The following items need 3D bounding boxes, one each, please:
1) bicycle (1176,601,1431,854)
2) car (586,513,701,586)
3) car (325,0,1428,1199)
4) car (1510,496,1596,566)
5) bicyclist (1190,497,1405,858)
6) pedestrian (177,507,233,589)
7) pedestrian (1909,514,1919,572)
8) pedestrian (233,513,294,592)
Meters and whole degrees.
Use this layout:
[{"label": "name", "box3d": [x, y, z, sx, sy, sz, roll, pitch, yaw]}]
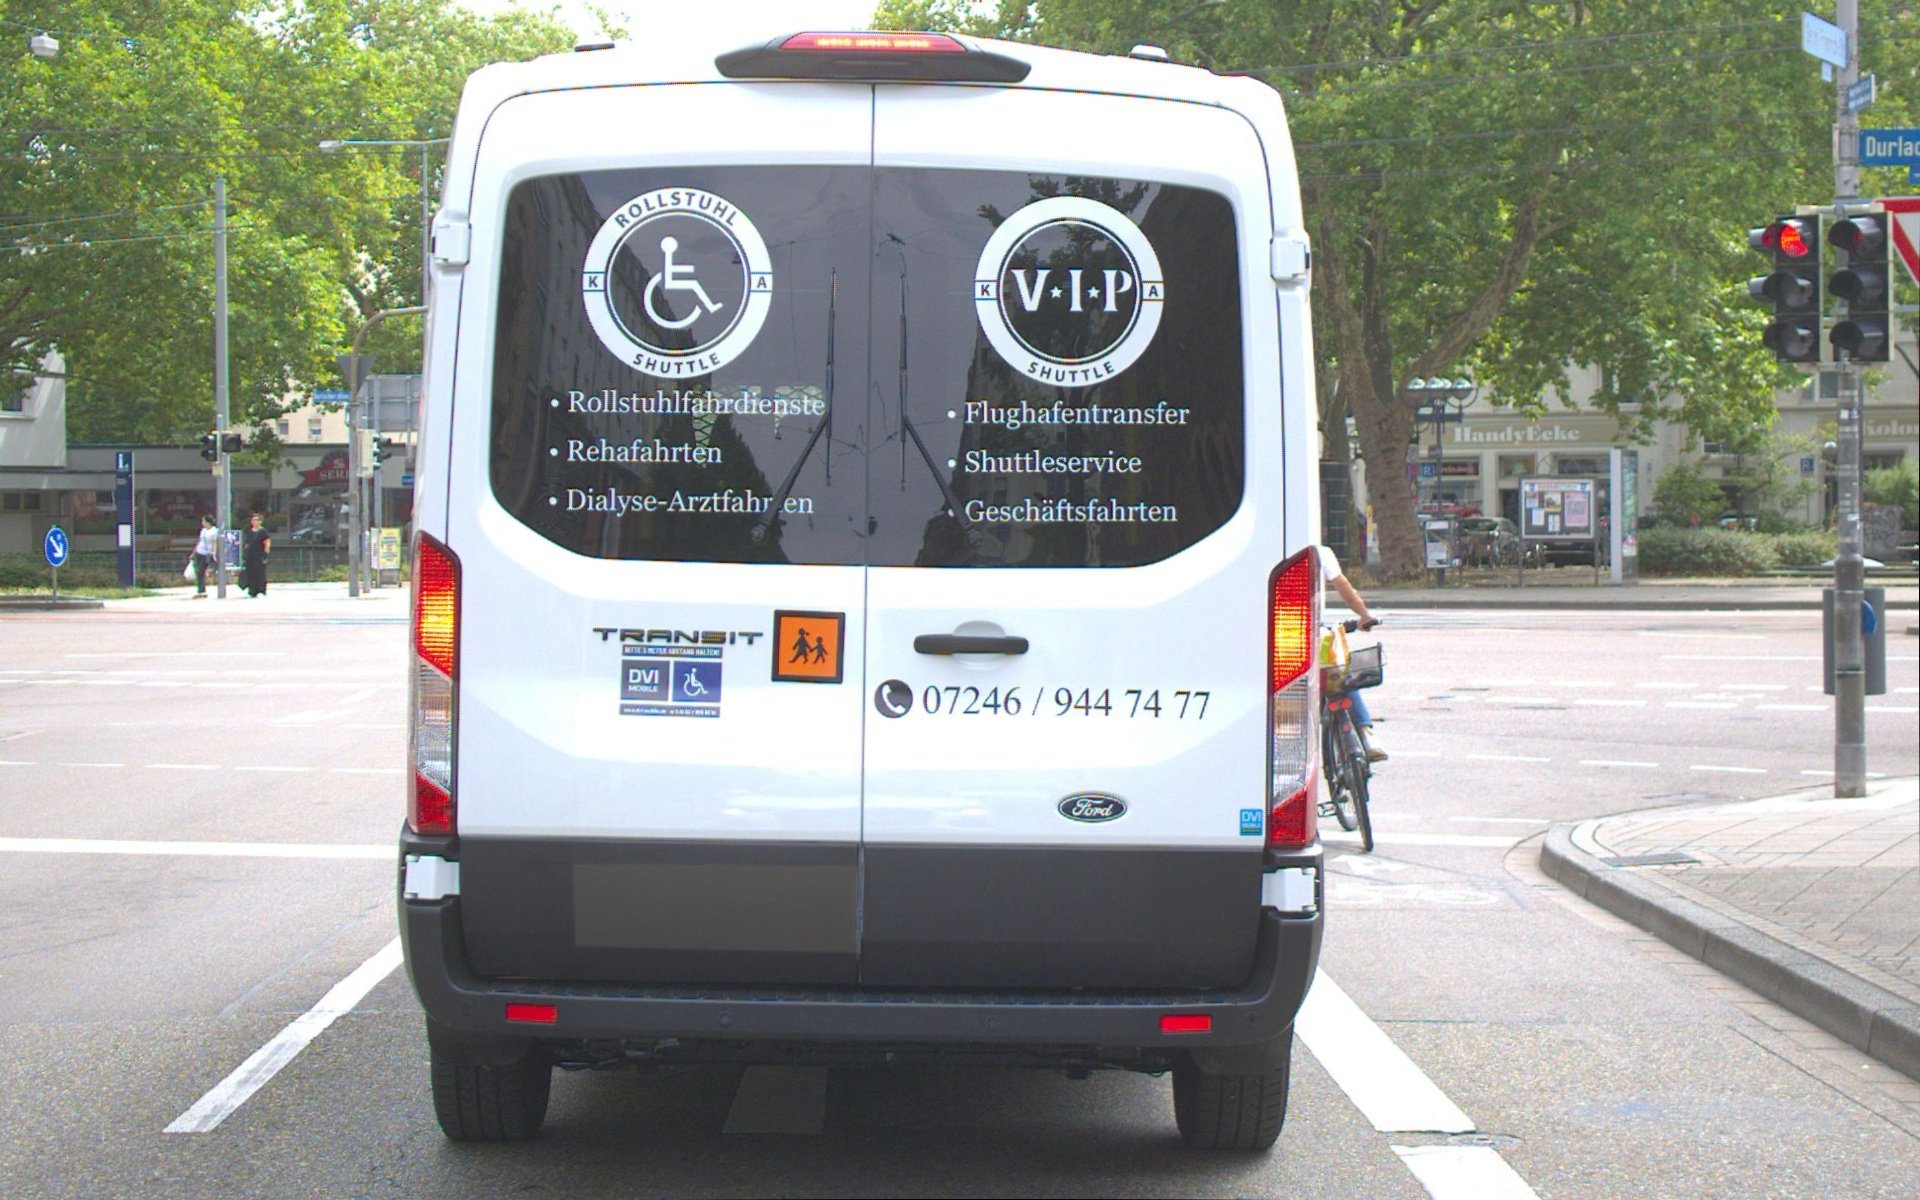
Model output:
[{"label": "bicycle", "box3d": [1.602, 0.571, 16.373, 0.902, 1.071, 1.970, -1, 1, -3]}, {"label": "car", "box3d": [-6.718, -1.104, 73.345, 1.621, 1.471, 3.999, -1, 2, 7]}, {"label": "car", "box3d": [-0.253, -0.082, 9.195, 2.181, 2.638, 4.629, 1, 2, -2]}, {"label": "car", "box3d": [16.886, -1.967, 98.005, 1.994, 1.924, 4.000, -1, 1, 4]}, {"label": "bicyclist", "box3d": [1.603, 0.353, 16.432, 0.903, 1.677, 0.757, -1, 1, -4]}, {"label": "pedestrian", "box3d": [-14.593, -1.015, 66.484, 0.807, 1.567, 0.723, 0, 1, 14]}, {"label": "pedestrian", "box3d": [21.121, -1.247, 73.869, 1.091, 1.232, 1.441, -2, 0, 4]}, {"label": "pedestrian", "box3d": [-13.444, -0.916, 66.366, 0.930, 1.509, 0.723, 0, 1, 14]}]
